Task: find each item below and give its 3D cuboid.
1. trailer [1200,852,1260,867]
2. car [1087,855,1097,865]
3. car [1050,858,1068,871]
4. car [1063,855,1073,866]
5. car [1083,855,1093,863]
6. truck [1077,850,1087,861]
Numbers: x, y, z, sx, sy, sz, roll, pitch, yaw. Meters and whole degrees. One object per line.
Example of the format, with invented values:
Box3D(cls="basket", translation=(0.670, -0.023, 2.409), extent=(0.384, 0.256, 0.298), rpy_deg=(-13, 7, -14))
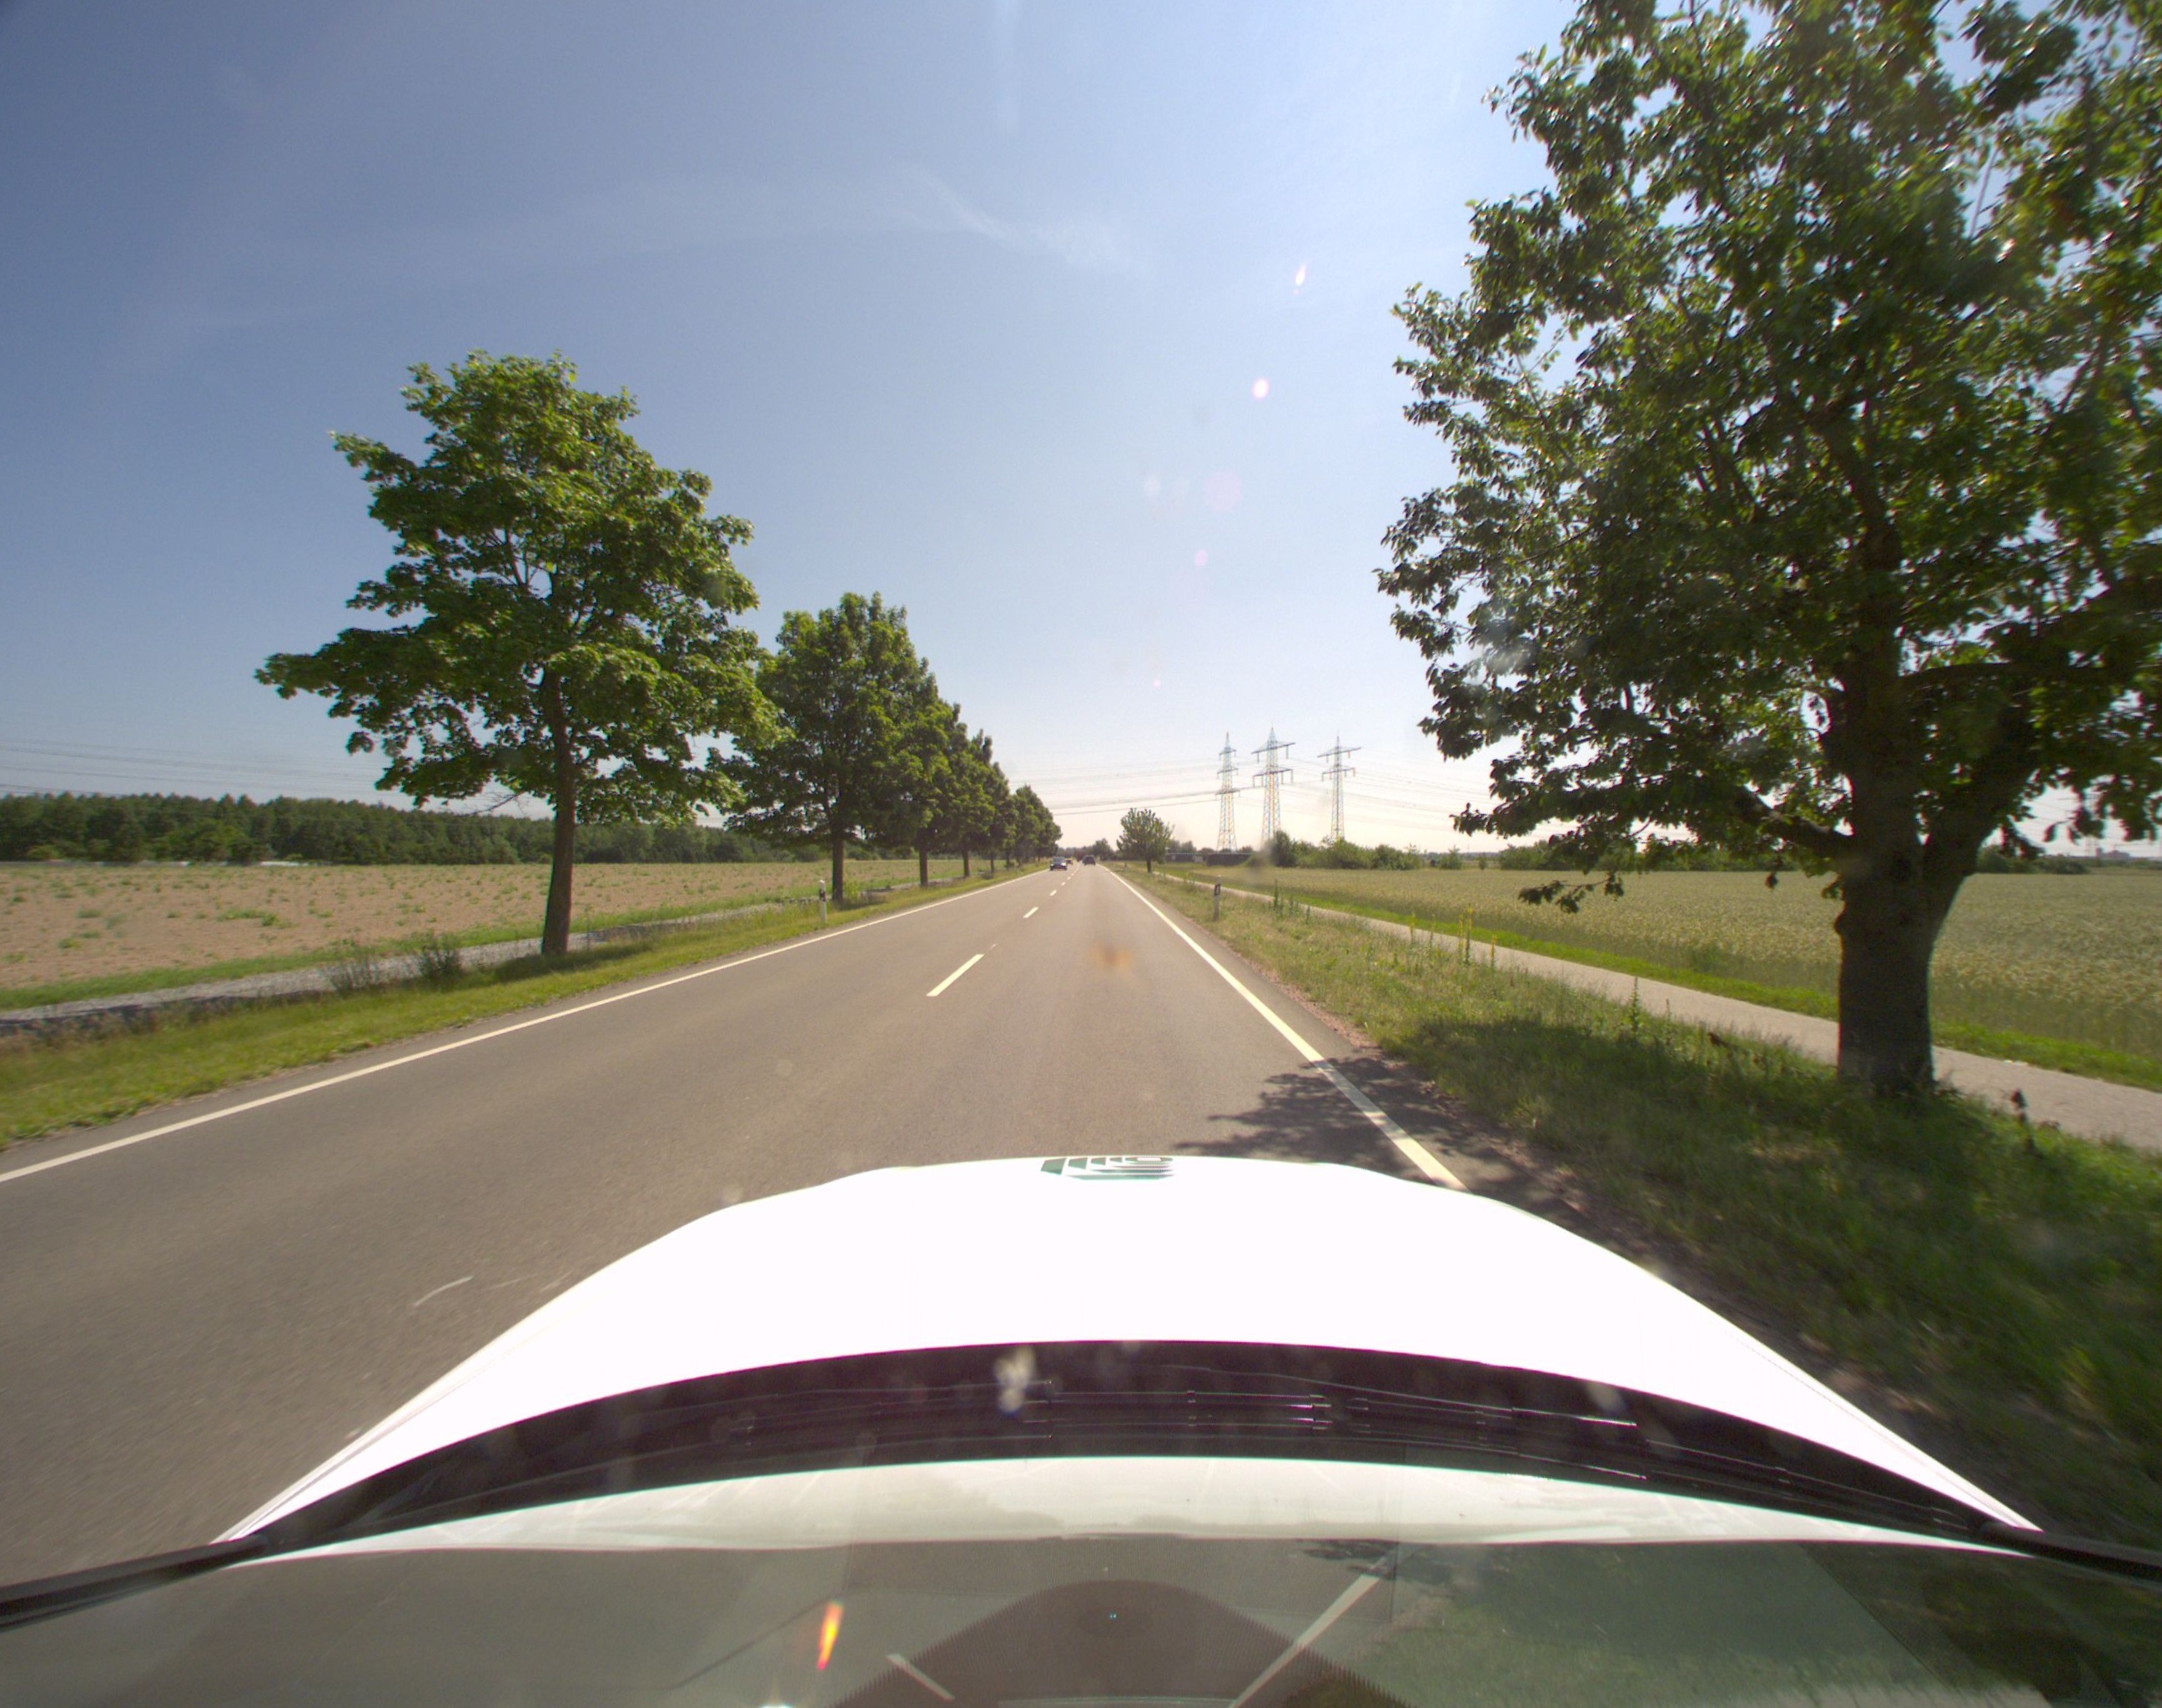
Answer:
Box3D(cls="trailer", translation=(35.329, 1.344, 193.340), extent=(13.476, 3.475, 3.273), rpy_deg=(0, 0, -3))
Box3D(cls="car", translation=(1.875, 1.069, 138.011), extent=(1.709, 1.694, 3.987), rpy_deg=(-1, -1, -1))
Box3D(cls="car", translation=(-2.521, 1.165, 93.439), extent=(1.815, 1.420, 4.589), rpy_deg=(-1, -1, 1))
Box3D(cls="car", translation=(-2.372, 1.192, 147.191), extent=(1.675, 1.849, 4.000), rpy_deg=(0, 0, 0))
Box3D(cls="car", translation=(1.515, 1.095, 172.065), extent=(1.846, 1.523, 3.996), rpy_deg=(-1, -1, -3))
Box3D(cls="truck", translation=(0.184, 0.474, 230.893), extent=(2.366, 3.140, 8.736), rpy_deg=(0, 0, -3))
